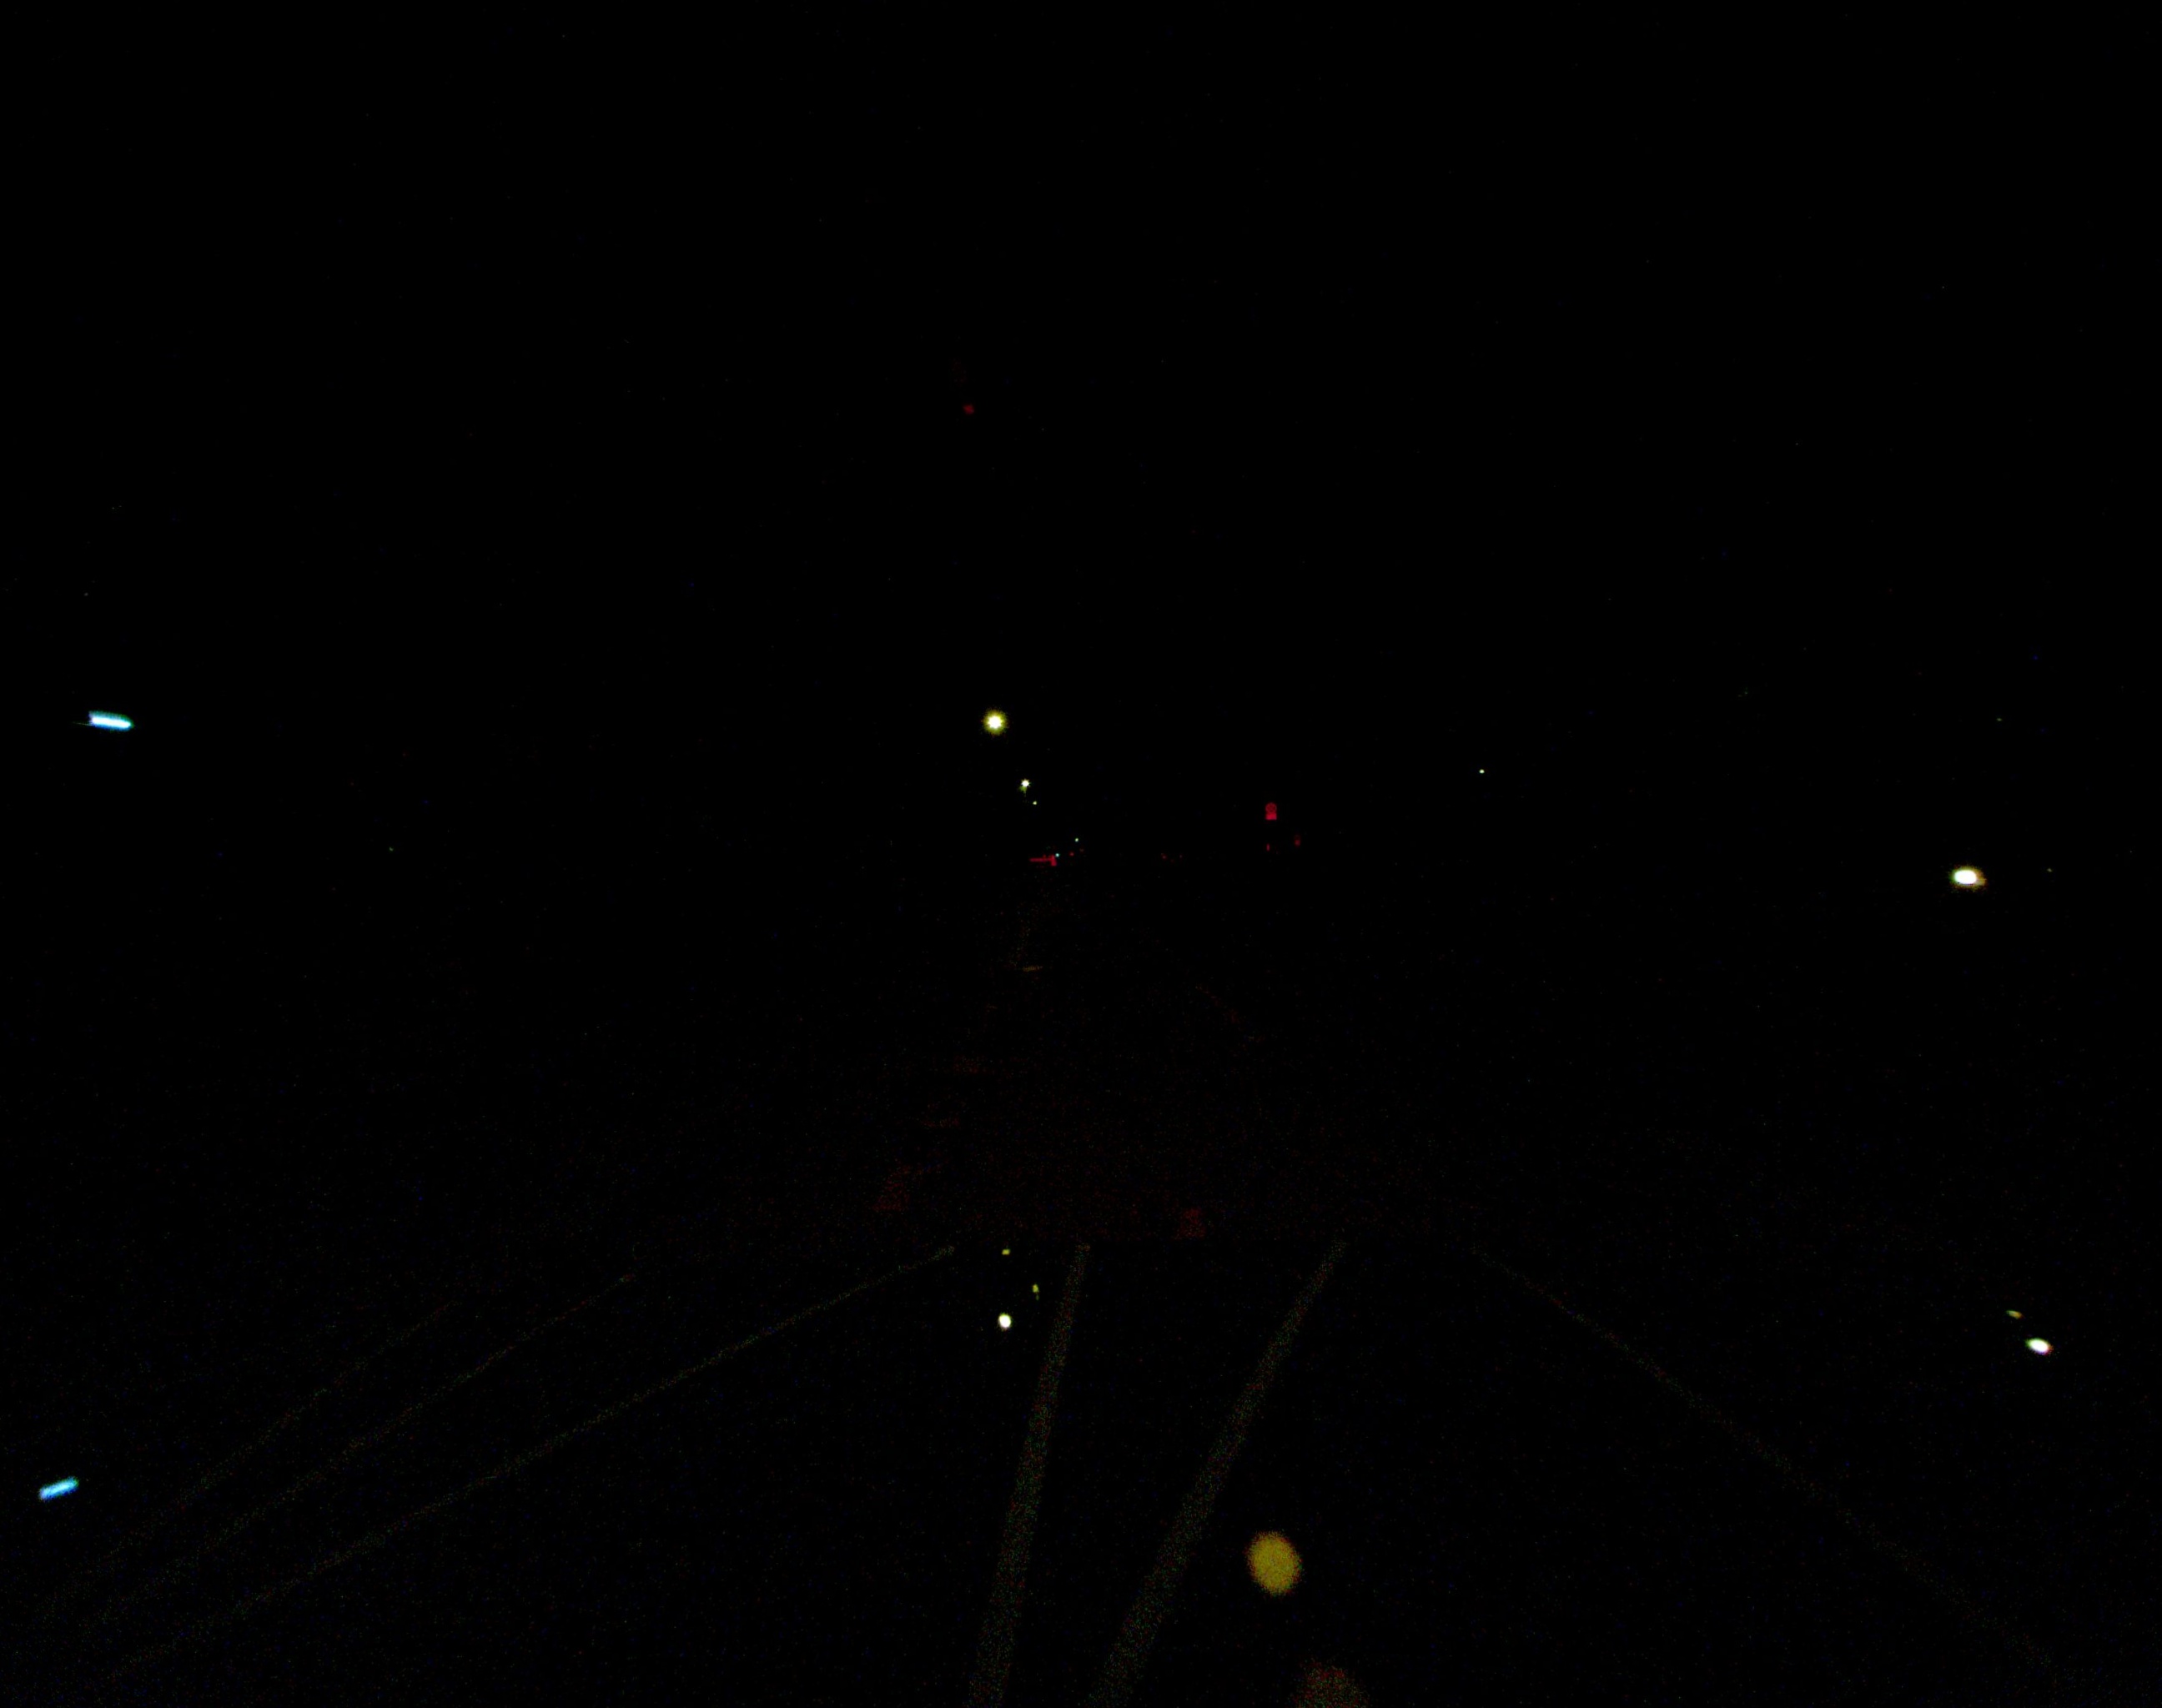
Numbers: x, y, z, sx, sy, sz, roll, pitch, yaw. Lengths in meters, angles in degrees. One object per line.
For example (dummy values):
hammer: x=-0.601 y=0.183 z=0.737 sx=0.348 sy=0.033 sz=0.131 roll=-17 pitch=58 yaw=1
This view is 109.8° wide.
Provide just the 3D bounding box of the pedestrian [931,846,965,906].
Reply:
pedestrian: x=-4.223 y=0.677 z=24.251 sx=0.819 sy=1.854 sz=1.034 roll=-2 pitch=1 yaw=1

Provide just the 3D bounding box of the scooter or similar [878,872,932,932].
scooter or similar: x=-3.694 y=0.997 z=16.002 sx=0.468 sy=1.195 sz=1.137 roll=-2 pitch=-1 yaw=24

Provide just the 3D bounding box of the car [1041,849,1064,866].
car: x=-2.901 y=0.320 z=78.166 sx=1.998 sy=1.638 sz=4.000 roll=1 pitch=1 yaw=4

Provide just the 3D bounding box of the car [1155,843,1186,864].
car: x=7.122 y=-0.070 z=60.812 sx=1.806 sy=1.583 sz=3.999 roll=-2 pitch=1 yaw=-2

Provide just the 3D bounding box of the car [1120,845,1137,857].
car: x=6.246 y=-0.366 z=100.269 sx=1.863 sy=1.484 sz=4.080 roll=-2 pitch=1 yaw=1

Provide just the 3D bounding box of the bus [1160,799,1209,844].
bus: x=17.368 y=-5.334 z=129.138 sx=6.135 sy=6.898 sz=14.781 roll=-2 pitch=1 yaw=1
